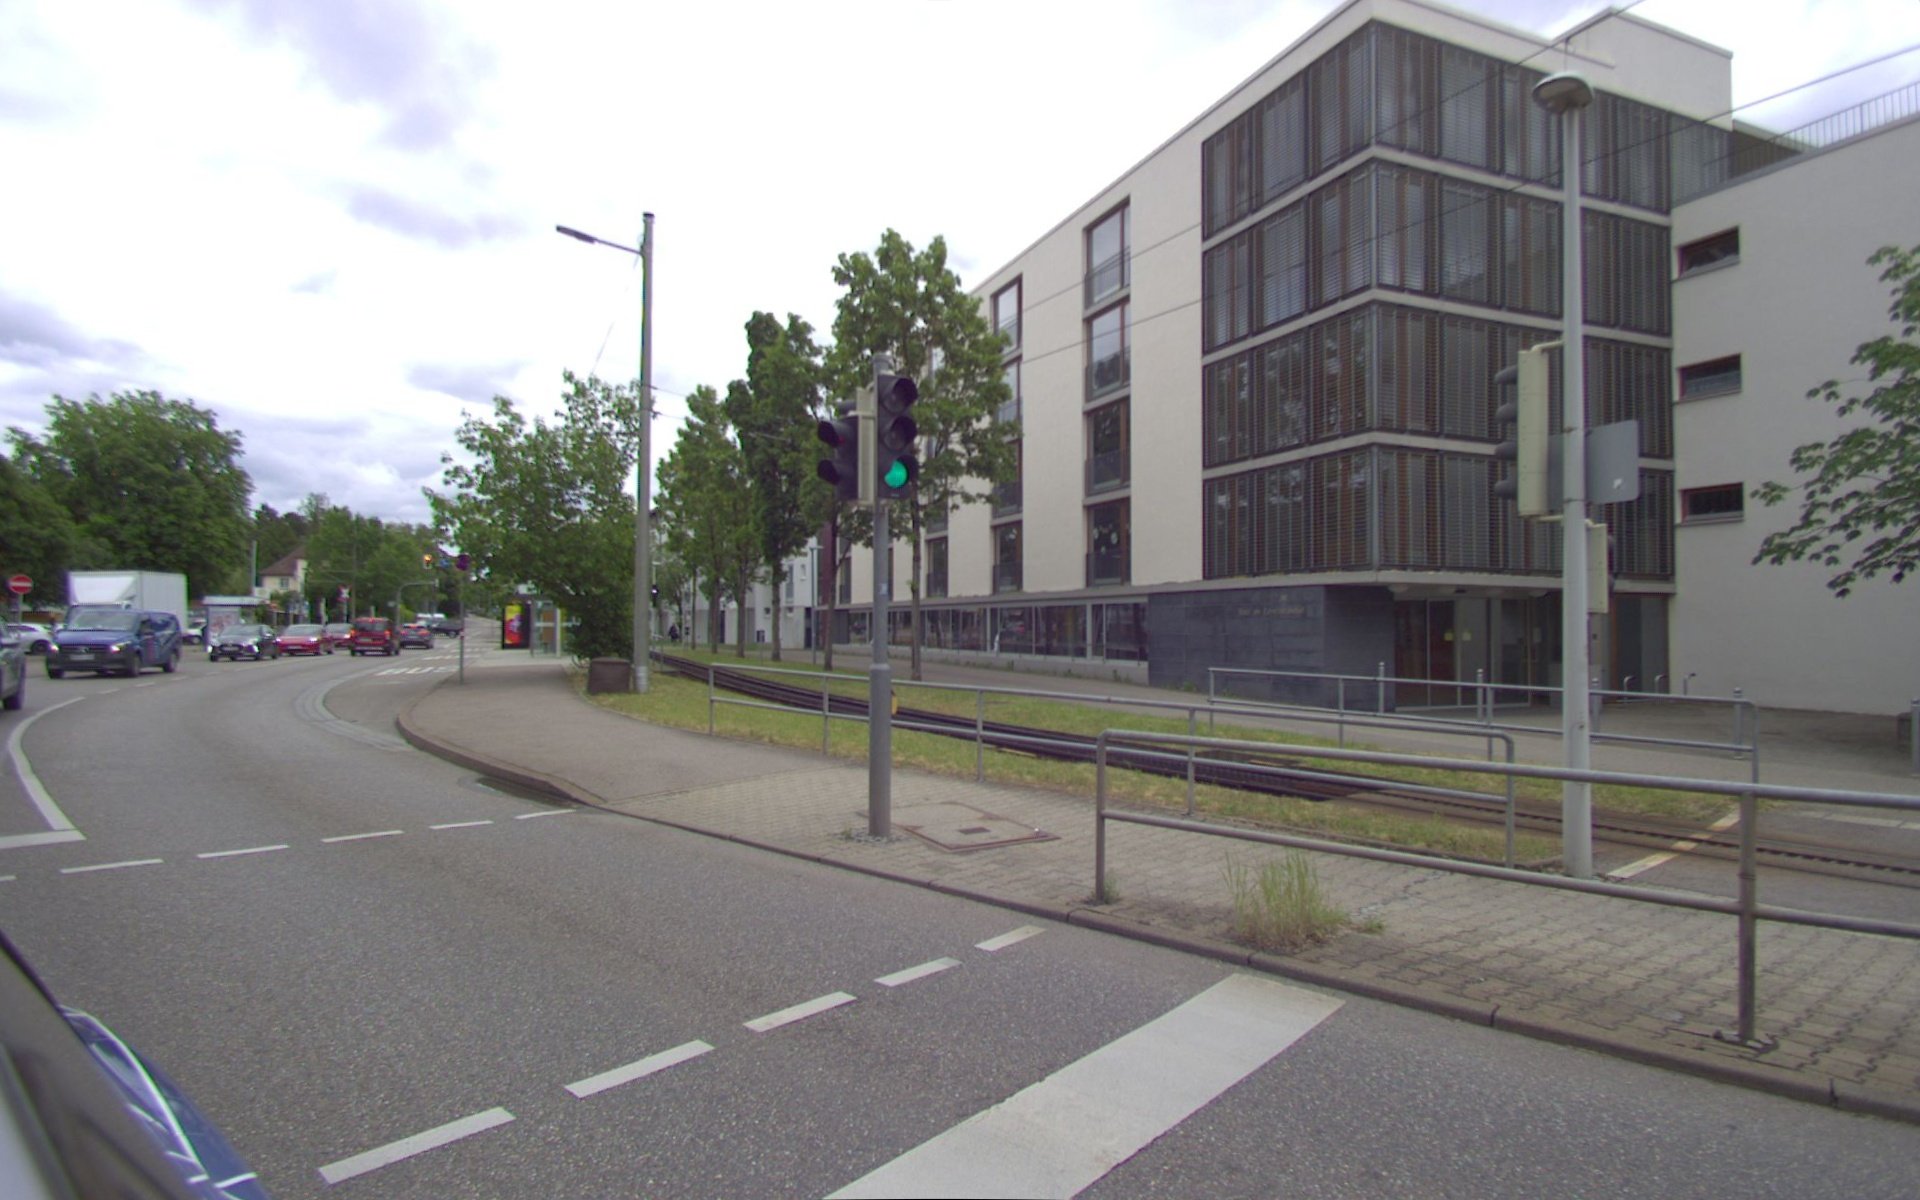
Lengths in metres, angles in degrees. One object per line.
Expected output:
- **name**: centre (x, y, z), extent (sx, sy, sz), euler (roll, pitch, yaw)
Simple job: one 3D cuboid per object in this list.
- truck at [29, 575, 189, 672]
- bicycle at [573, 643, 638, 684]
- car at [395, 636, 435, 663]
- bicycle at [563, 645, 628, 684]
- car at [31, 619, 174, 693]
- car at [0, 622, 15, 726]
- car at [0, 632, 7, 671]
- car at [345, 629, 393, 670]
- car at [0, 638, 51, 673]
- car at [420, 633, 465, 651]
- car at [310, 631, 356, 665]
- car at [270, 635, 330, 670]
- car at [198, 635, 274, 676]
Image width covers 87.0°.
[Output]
- **truck**: centre (-33.490, 0.974, 40.210), extent (2.499, 3.452, 7.801), euler (1, -2, -22)
- **bicycle**: centre (-9.966, 1.784, 28.506), extent (1.682, 1.097, 0.409), euler (0, -3, -35)
- **car**: centre (-33.172, 3.018, 61.664), extent (1.743, 1.490, 4.013), euler (3, -4, -24)
- **bicycle**: centre (-10.463, 1.838, 29.056), extent (1.724, 1.054, 0.409), euler (0, -2, -21)
- **car**: centre (-23.658, 1.530, 28.108), extent (1.819, 1.875, 4.013), euler (2, -3, -23)
- **car**: centre (-15.589, 1.139, 15.103), extent (1.784, 1.660, 4.338), euler (2, -3, -39)
- **car**: centre (-39.000, 2.006, 38.520), extent (1.683, 1.495, 3.843), euler (-2, -1, 42)
- **car**: centre (-28.304, 2.359, 48.568), extent (1.657, 1.822, 4.365), euler (4, -4, -27)
- **car**: centre (-41.462, 2.389, 43.030), extent (1.521, 1.420, 3.952), euler (-2, -1, 35)
- **car**: centre (-51.251, 4.155, 100.336), extent (3.930, 1.719, 1.935), euler (2, -3, -26)
- **car**: centre (-36.036, 2.740, 58.237), extent (1.819, 1.875, 4.271), euler (2, -3, -26)
- **car**: centre (-30.648, 2.452, 47.094), extent (1.819, 1.546, 4.013), euler (2, -3, -27)
- **car**: centre (-28.773, 2.198, 40.350), extent (1.819, 1.546, 4.013), euler (2, -3, -27)
